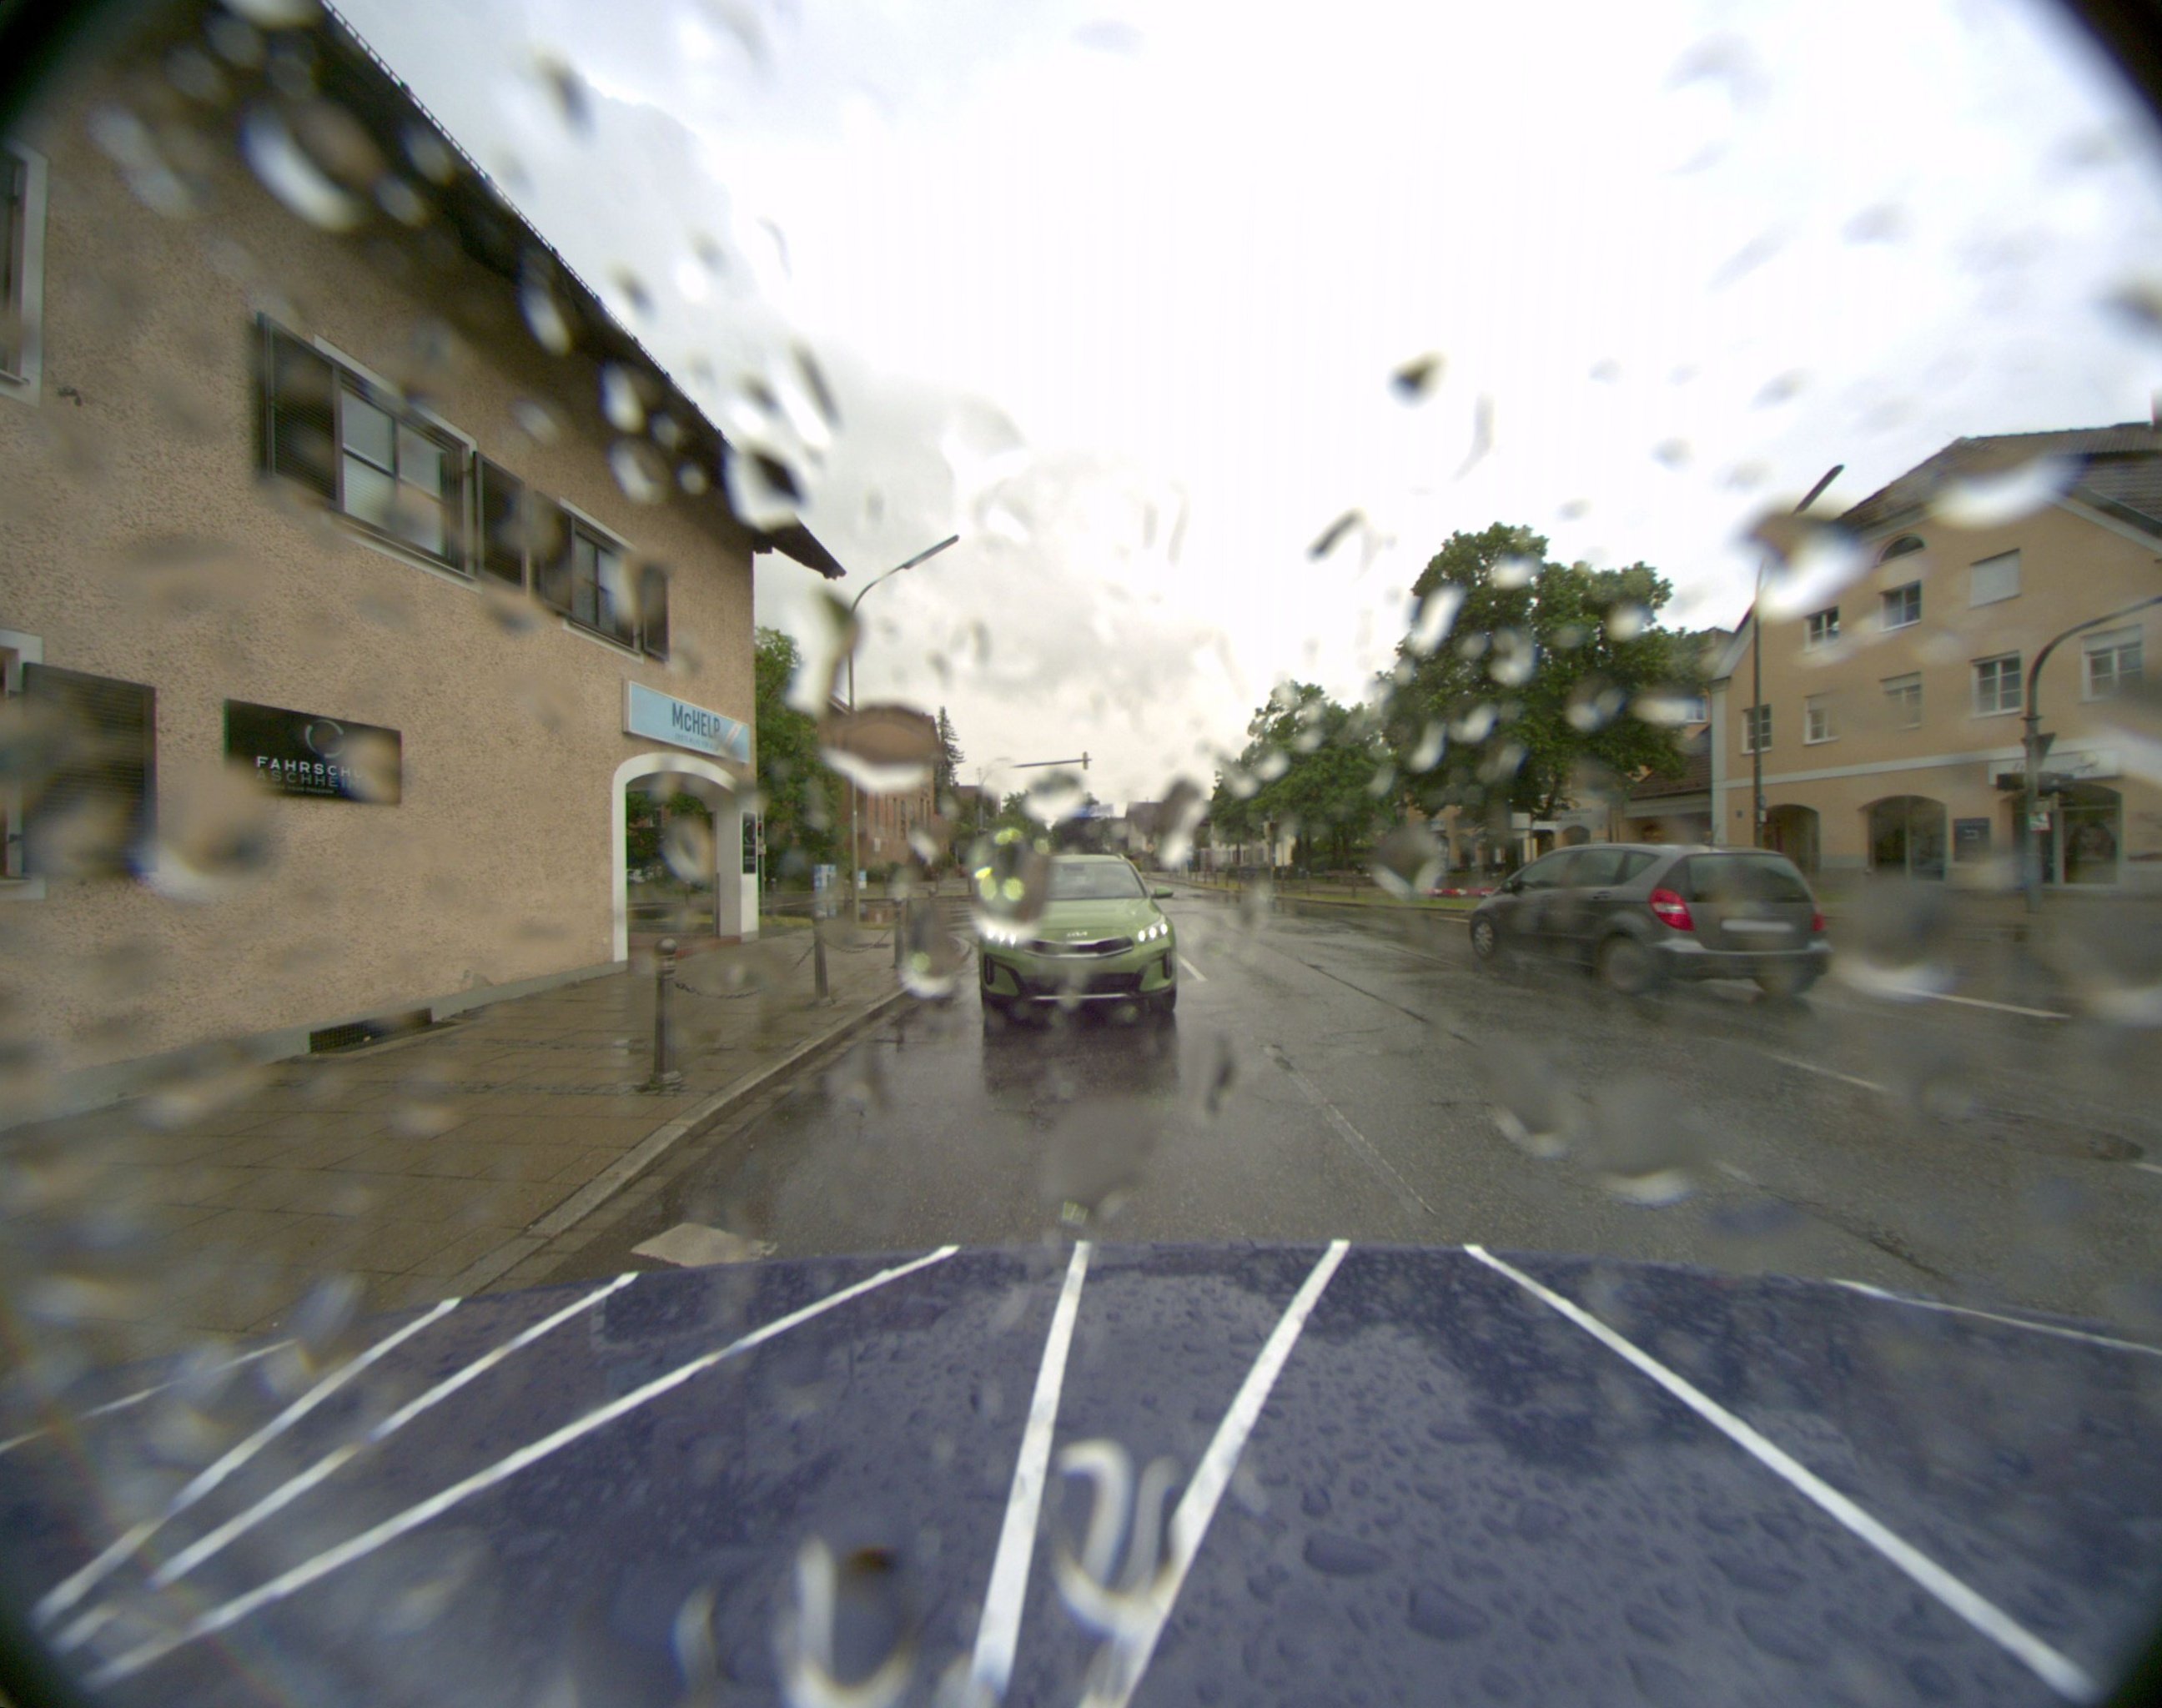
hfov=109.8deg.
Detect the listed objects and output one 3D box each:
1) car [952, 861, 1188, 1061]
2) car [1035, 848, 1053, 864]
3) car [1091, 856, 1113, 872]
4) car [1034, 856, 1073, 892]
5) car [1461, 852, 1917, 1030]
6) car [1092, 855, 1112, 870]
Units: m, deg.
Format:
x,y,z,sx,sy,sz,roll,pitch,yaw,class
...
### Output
x,y,z,sx,sy,sz,roll,pitch,yaw,class
-0.053,0.880,8.135,1.872,1.505,4.104,-1,0,1,car
-4.917,0.235,100.109,2.218,1.977,4.952,0,0,-5,car
2.008,0.920,74.040,1.873,1.447,4.103,-1,0,-2,car
-1.312,0.890,35.542,1.736,1.489,4.609,0,0,-3,car
6.252,0.746,8.532,1.921,1.524,3.898,0,0,-2,car
2.146,0.885,79.649,1.873,1.447,4.103,-1,0,-2,car
